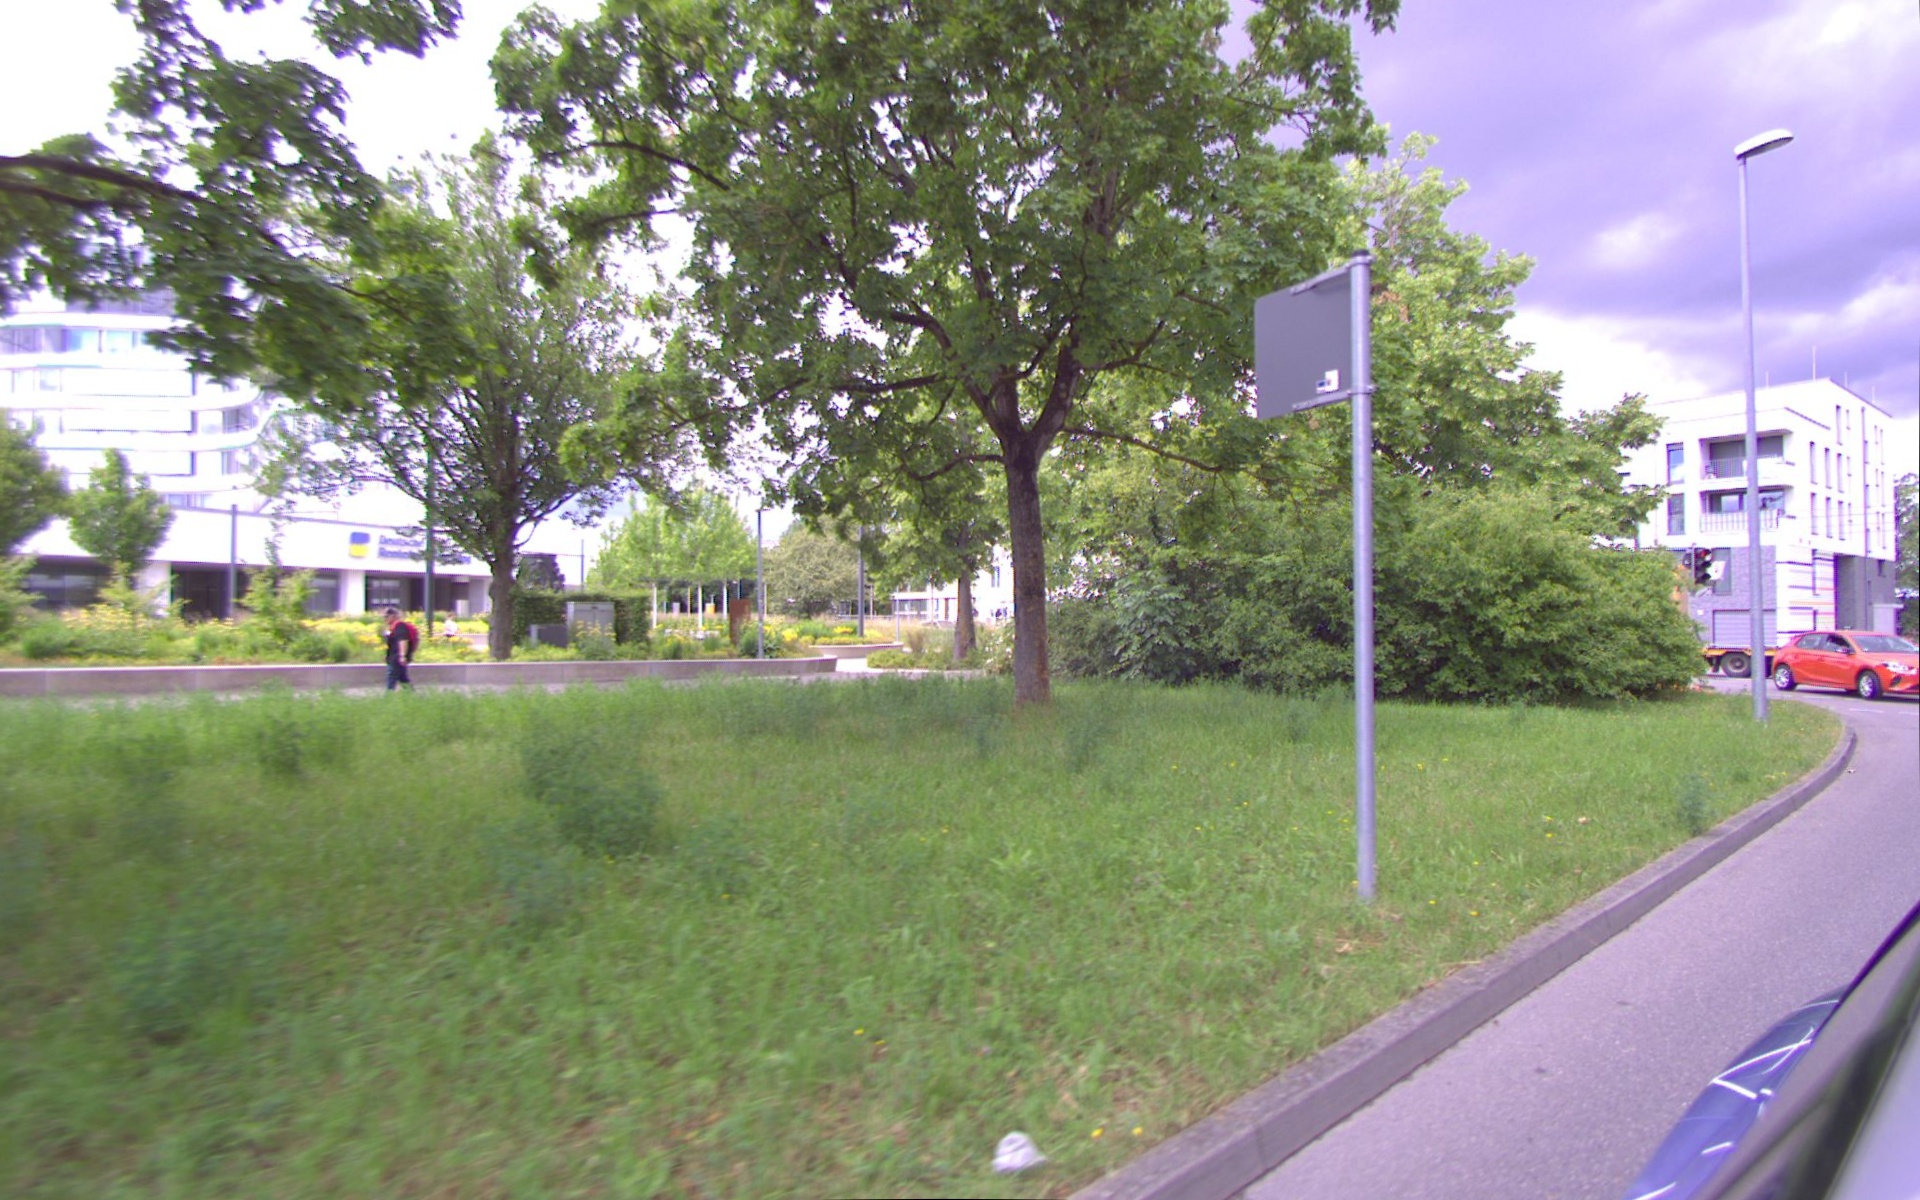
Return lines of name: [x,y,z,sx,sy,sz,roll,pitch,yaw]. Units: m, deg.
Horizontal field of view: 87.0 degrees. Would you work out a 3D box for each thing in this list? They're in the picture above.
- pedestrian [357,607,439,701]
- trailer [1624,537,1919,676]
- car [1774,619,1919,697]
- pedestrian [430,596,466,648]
pedestrian: [-9.071,0.852,16.349,0.967,1.471,0.758,2,-3,-45]
trailer: [25.029,0.196,28.005,2.664,3.567,10.909,1,-1,-36]
car: [20.088,1.208,22.106,1.664,1.498,3.993,1,0,6]
pedestrian: [-19.656,0.851,38.847,0.875,1.963,0.891,0,-1,30]
